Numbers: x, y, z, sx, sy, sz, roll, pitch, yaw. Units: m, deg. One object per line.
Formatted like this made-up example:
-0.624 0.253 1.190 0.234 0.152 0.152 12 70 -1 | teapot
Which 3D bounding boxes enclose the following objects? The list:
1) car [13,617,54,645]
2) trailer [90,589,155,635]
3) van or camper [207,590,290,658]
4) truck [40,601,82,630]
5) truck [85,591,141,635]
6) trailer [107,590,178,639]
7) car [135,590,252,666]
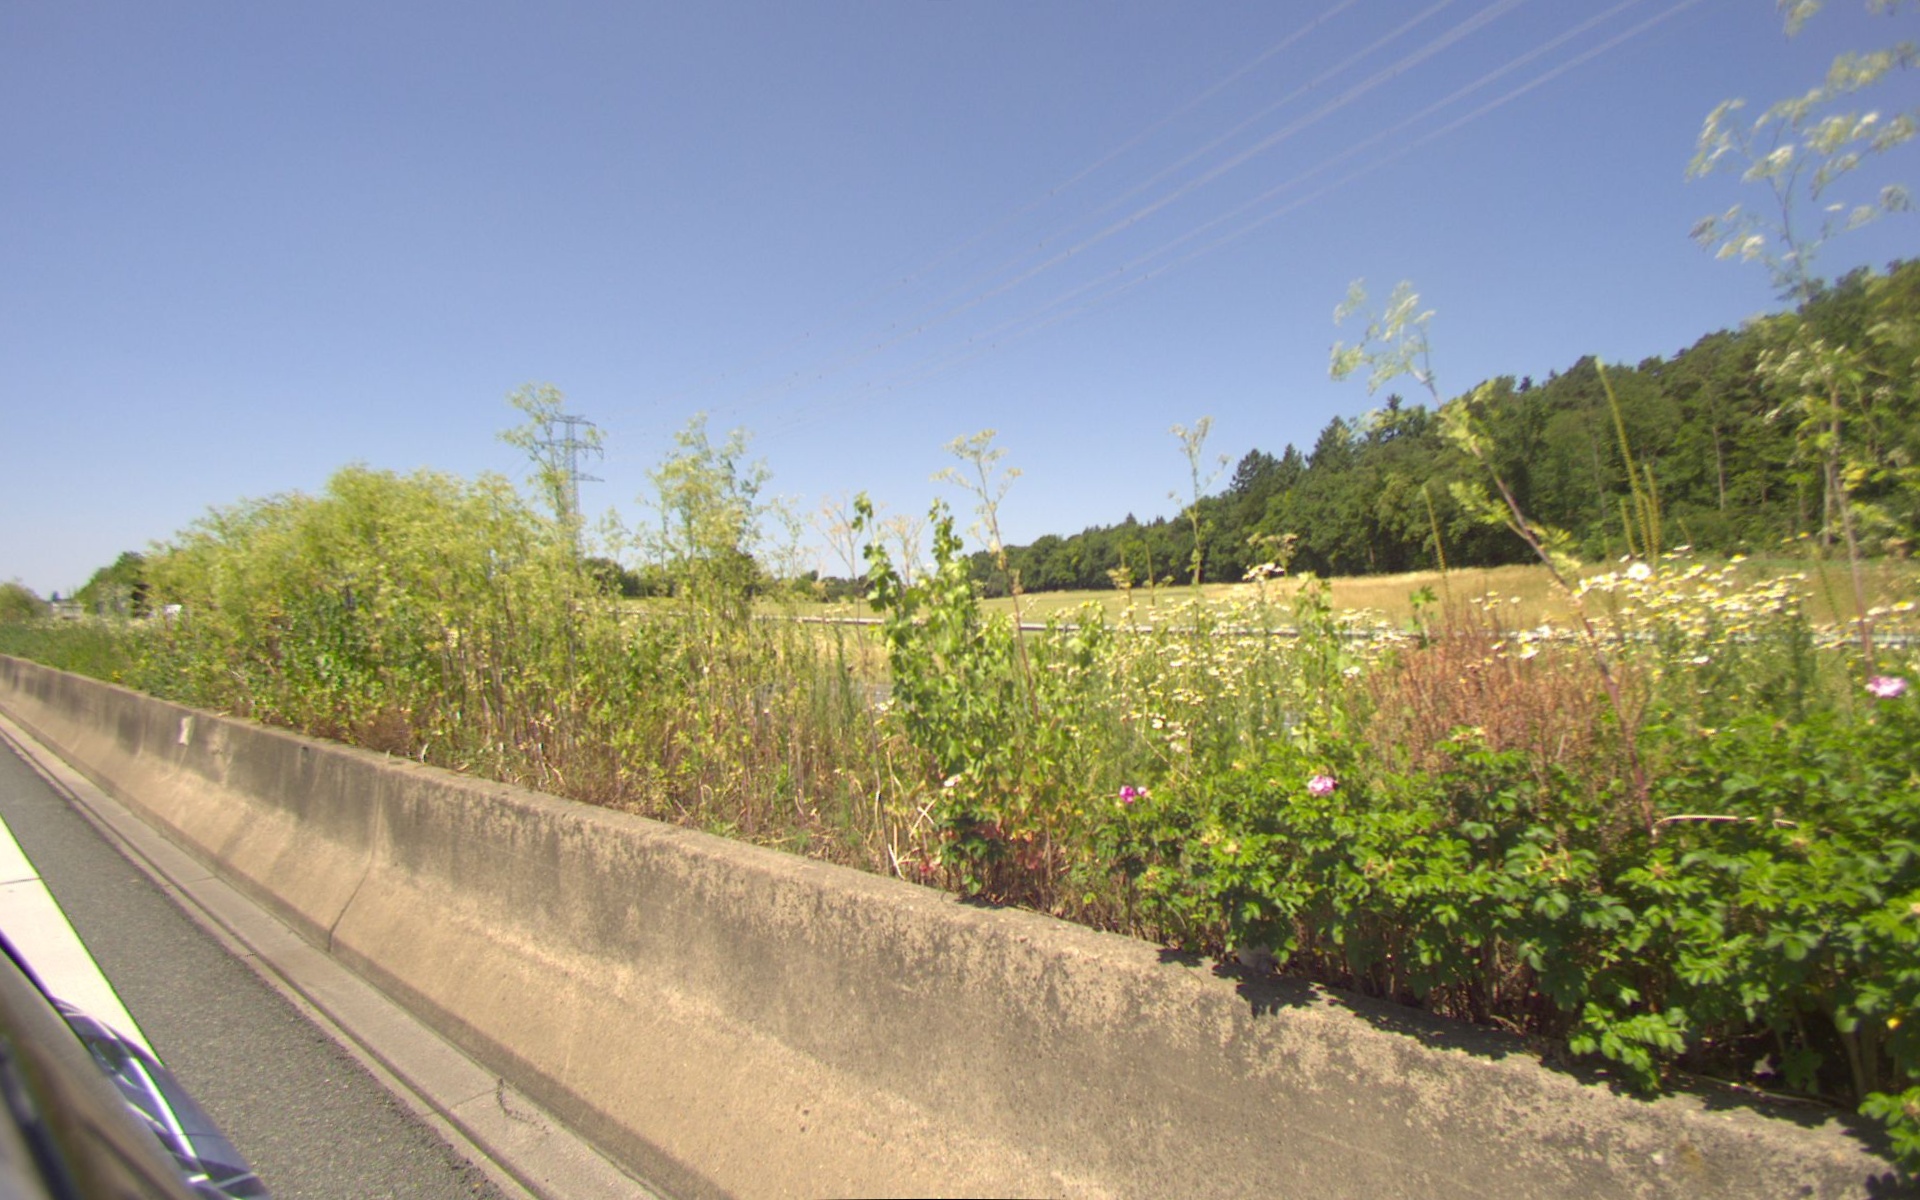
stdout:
-59.022 1.949 64.479 3.687 1.767 1.564 -1 -2 42 | car
-71.549 1.035 86.429 7.867 3.787 3.091 -1 -2 42 | trailer
-31.695 1.068 45.016 4.648 2.882 2.026 -1 -2 42 | van or camper
-109.185 1.877 122.825 11.820 3.313 2.734 -1 -2 43 | truck
-74.774 1.138 89.320 5.461 3.738 3.039 -1 -2 42 | truck
-65.646 1.198 81.157 8.198 3.790 3.149 -1 -2 42 | trailer
-23.496 0.816 30.949 4.598 2.163 1.973 -1 -1 41 | car
